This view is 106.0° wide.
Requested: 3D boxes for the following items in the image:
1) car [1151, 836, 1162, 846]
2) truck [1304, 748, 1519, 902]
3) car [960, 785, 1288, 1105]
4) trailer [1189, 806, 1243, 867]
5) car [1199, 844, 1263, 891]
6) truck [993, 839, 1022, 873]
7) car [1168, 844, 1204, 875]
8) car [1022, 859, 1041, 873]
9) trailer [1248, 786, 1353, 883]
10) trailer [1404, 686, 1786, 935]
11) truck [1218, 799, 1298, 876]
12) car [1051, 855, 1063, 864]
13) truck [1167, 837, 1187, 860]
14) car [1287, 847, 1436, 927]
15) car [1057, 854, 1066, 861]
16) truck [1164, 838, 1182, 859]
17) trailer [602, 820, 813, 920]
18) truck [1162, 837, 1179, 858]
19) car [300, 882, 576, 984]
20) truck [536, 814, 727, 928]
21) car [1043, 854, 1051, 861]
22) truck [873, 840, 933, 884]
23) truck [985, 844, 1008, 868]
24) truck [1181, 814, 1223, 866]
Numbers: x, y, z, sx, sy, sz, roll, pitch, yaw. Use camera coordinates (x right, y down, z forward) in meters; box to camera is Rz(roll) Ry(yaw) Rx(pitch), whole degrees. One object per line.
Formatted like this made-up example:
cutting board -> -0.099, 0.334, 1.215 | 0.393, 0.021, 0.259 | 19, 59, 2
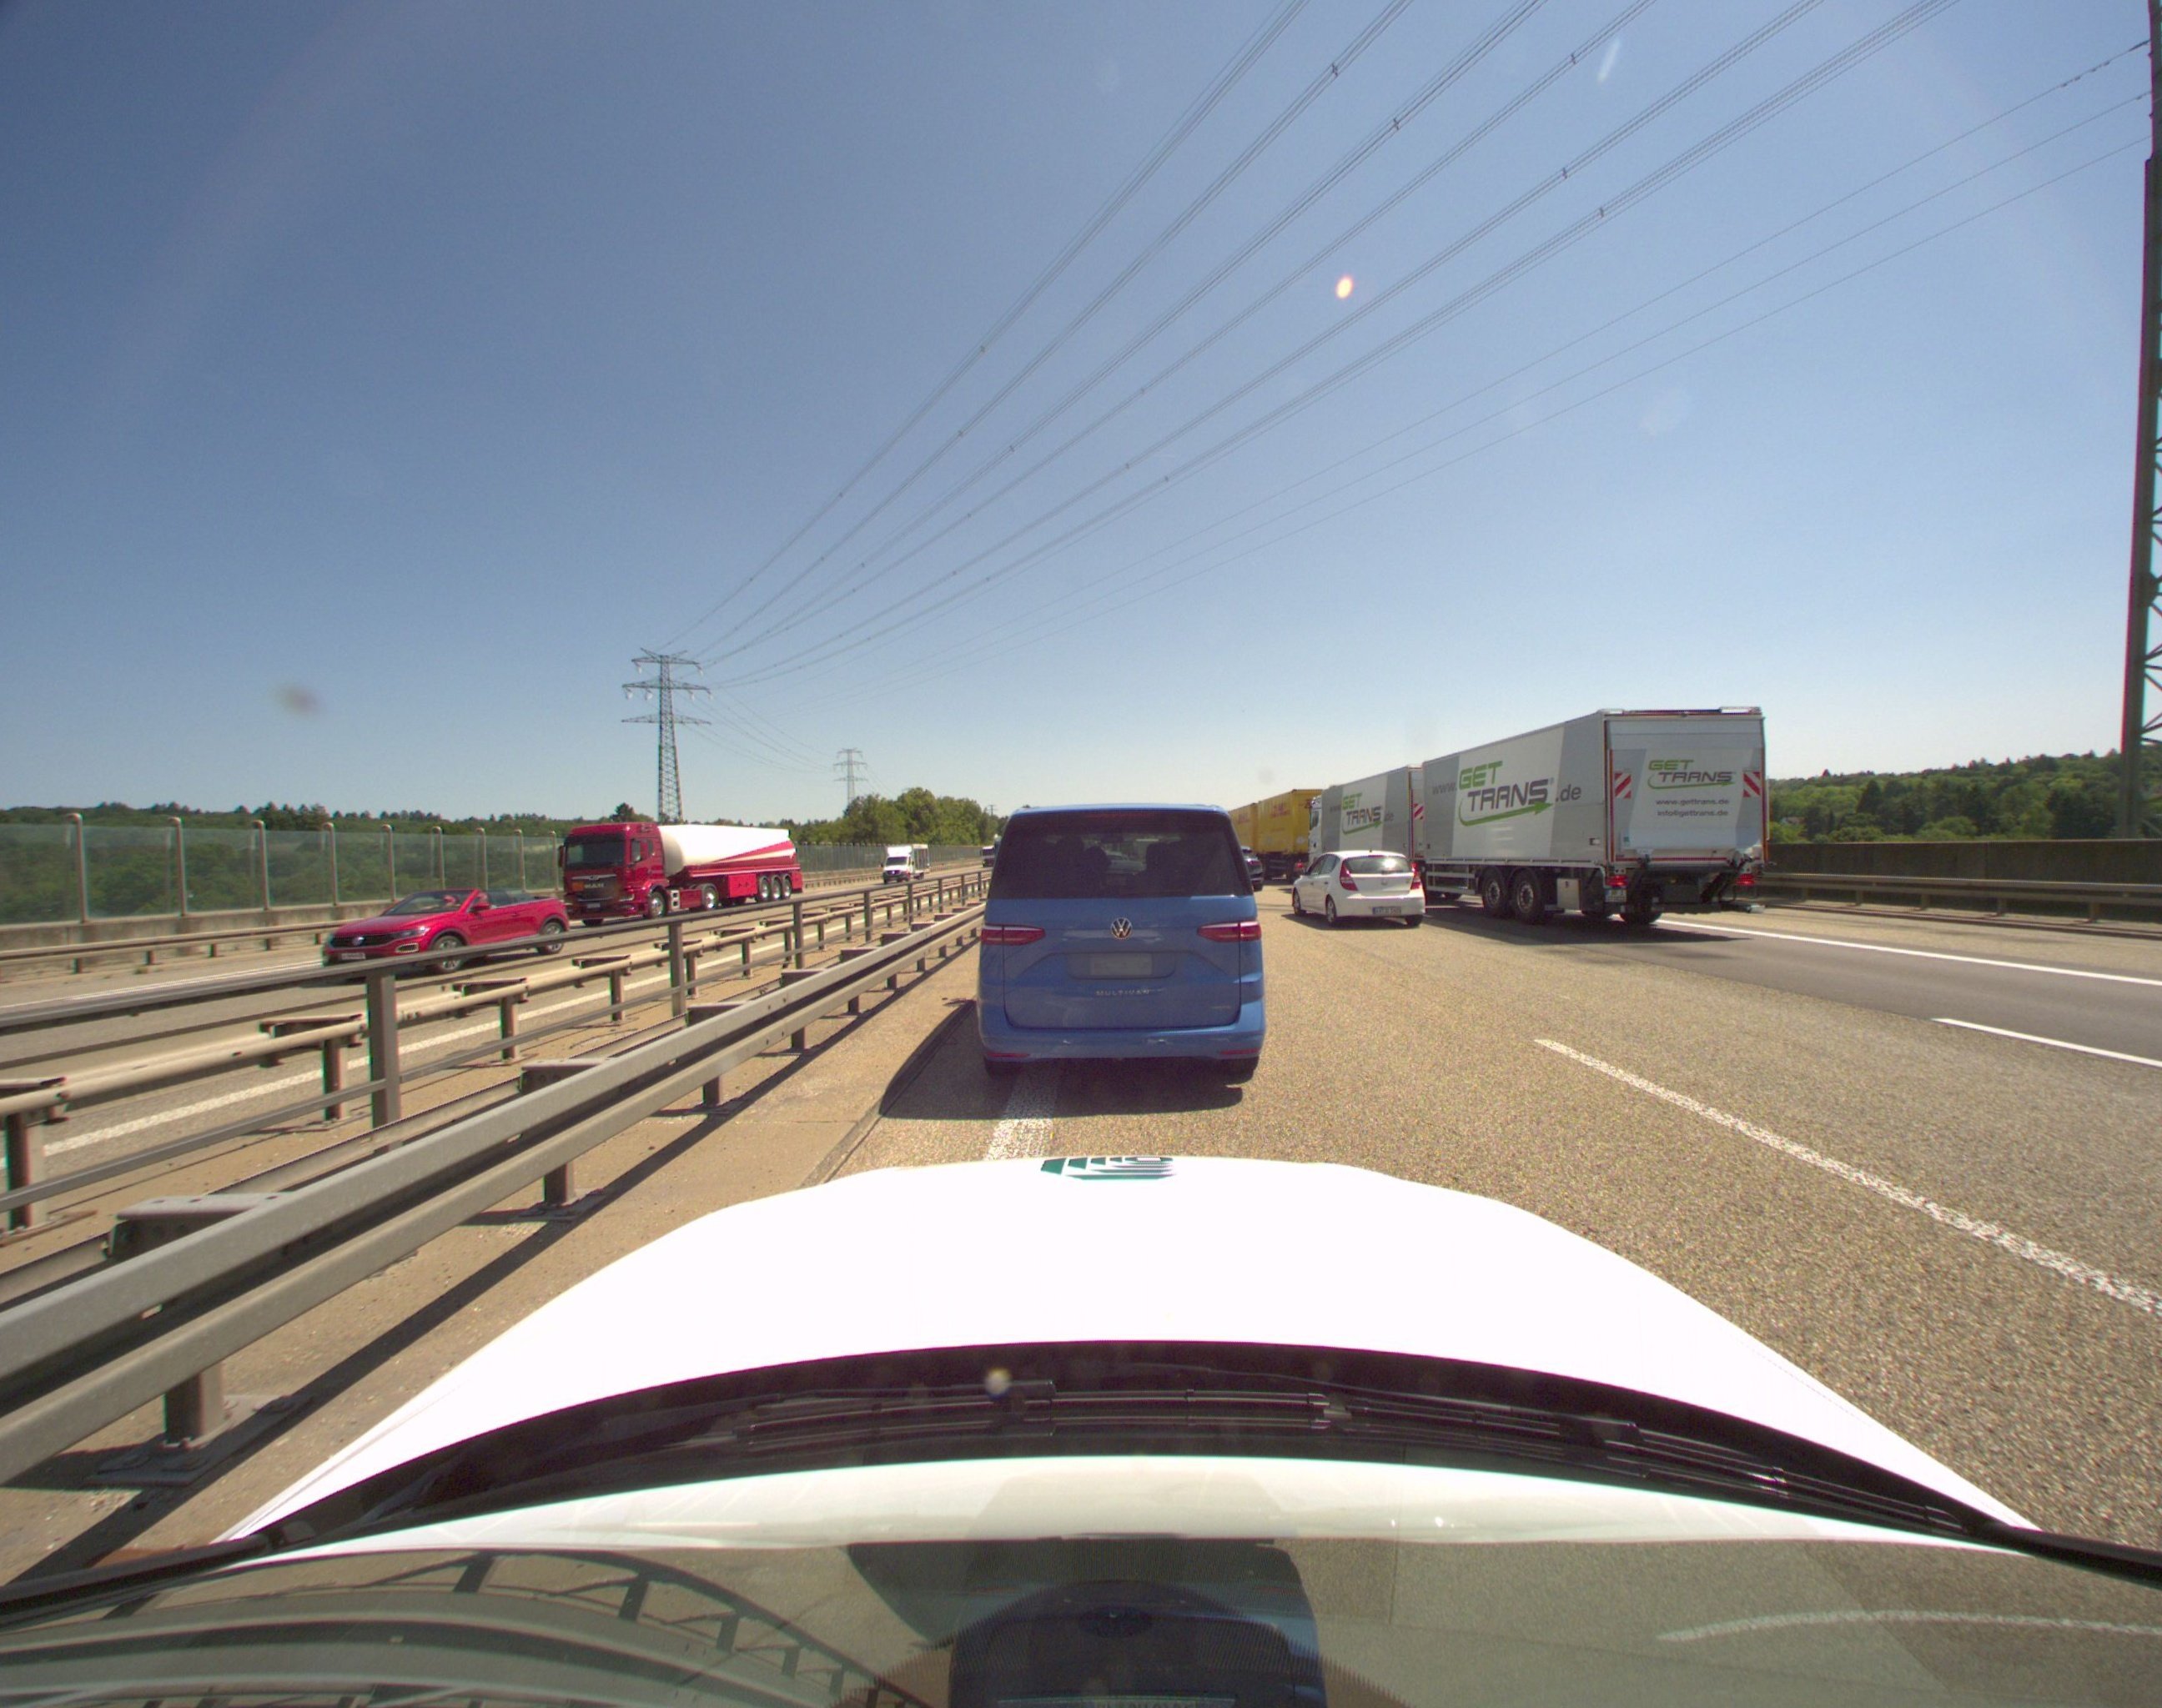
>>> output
car -> 13.050, -2.253, 140.758 | 1.790, 1.751, 3.945 | 0, -1, 2
truck -> 9.961, -0.712, 26.283 | 2.841, 3.934, 10.612 | 0, -1, 1
car -> 0.312, 0.554, 6.812 | 1.923, 1.874, 4.001 | 0, -1, 2
trailer -> 10.890, -1.284, 66.987 | 3.014, 4.611, 10.930 | 0, -1, 2
car -> 5.609, 0.490, 30.948 | 1.808, 1.679, 3.933 | 0, -1, 2
truck -> -9.217, 0.237, 103.039 | 2.743, 4.116, 6.267 | -2, -1, 1
car -> 6.674, 0.360, 52.152 | 1.955, 1.936, 3.933 | 0, -1, 2
car -> -5.771, 1.330, 94.506 | 1.791, 1.498, 3.853 | -3, -1, 2
trailer -> 10.217, -0.809, 38.980 | 2.673, 4.088, 8.980 | 0, -1, 1
trailer -> 9.690, -0.647, 16.896 | 2.888, 3.891, 8.216 | 0, -1, 1
truck -> 10.296, -0.853, 48.444 | 2.690, 4.088, 9.940 | 0, -1, 1
car -> -4.343, 1.057, 146.984 | 1.875, 1.552, 4.189 | 0, -1, 0
truck -> 10.454, -0.529, 89.259 | 1.791, 2.449, 4.506 | 0, -1, 2
car -> 5.696, 0.625, 17.045 | 1.809, 1.470, 3.932 | 0, -1, 1
car -> -4.297, 0.778, 182.323 | 1.875, 1.552, 4.189 | 0, -1, 0
truck -> 11.046, -0.622, 97.902 | 1.735, 2.549, 4.212 | 0, -1, 2
trailer -> -15.238, 0.618, 34.905 | 2.865, 3.379, 12.013 | -4, -1, 2
truck -> 11.350, -0.795, 103.177 | 1.790, 2.596, 4.307 | 0, -1, 2
car -> -11.695, 1.355, 15.230 | 1.775, 1.420, 4.002 | -4, -1, 2
truck -> -15.473, 0.554, 28.689 | 2.898, 3.415, 6.297 | -3, -1, 2
car -> -8.705, 0.811, 207.867 | 1.800, 1.640, 4.000 | -4, -1, 0
truck -> -14.457, 0.650, 66.834 | 2.553, 3.188, 8.297 | -4, -1, 2
truck -> -12.736, 0.333, 123.176 | 2.511, 3.535, 5.333 | -3, -1, 2
truck -> 11.258, -1.195, 76.404 | 3.014, 4.611, 7.925 | 0, -1, 2
